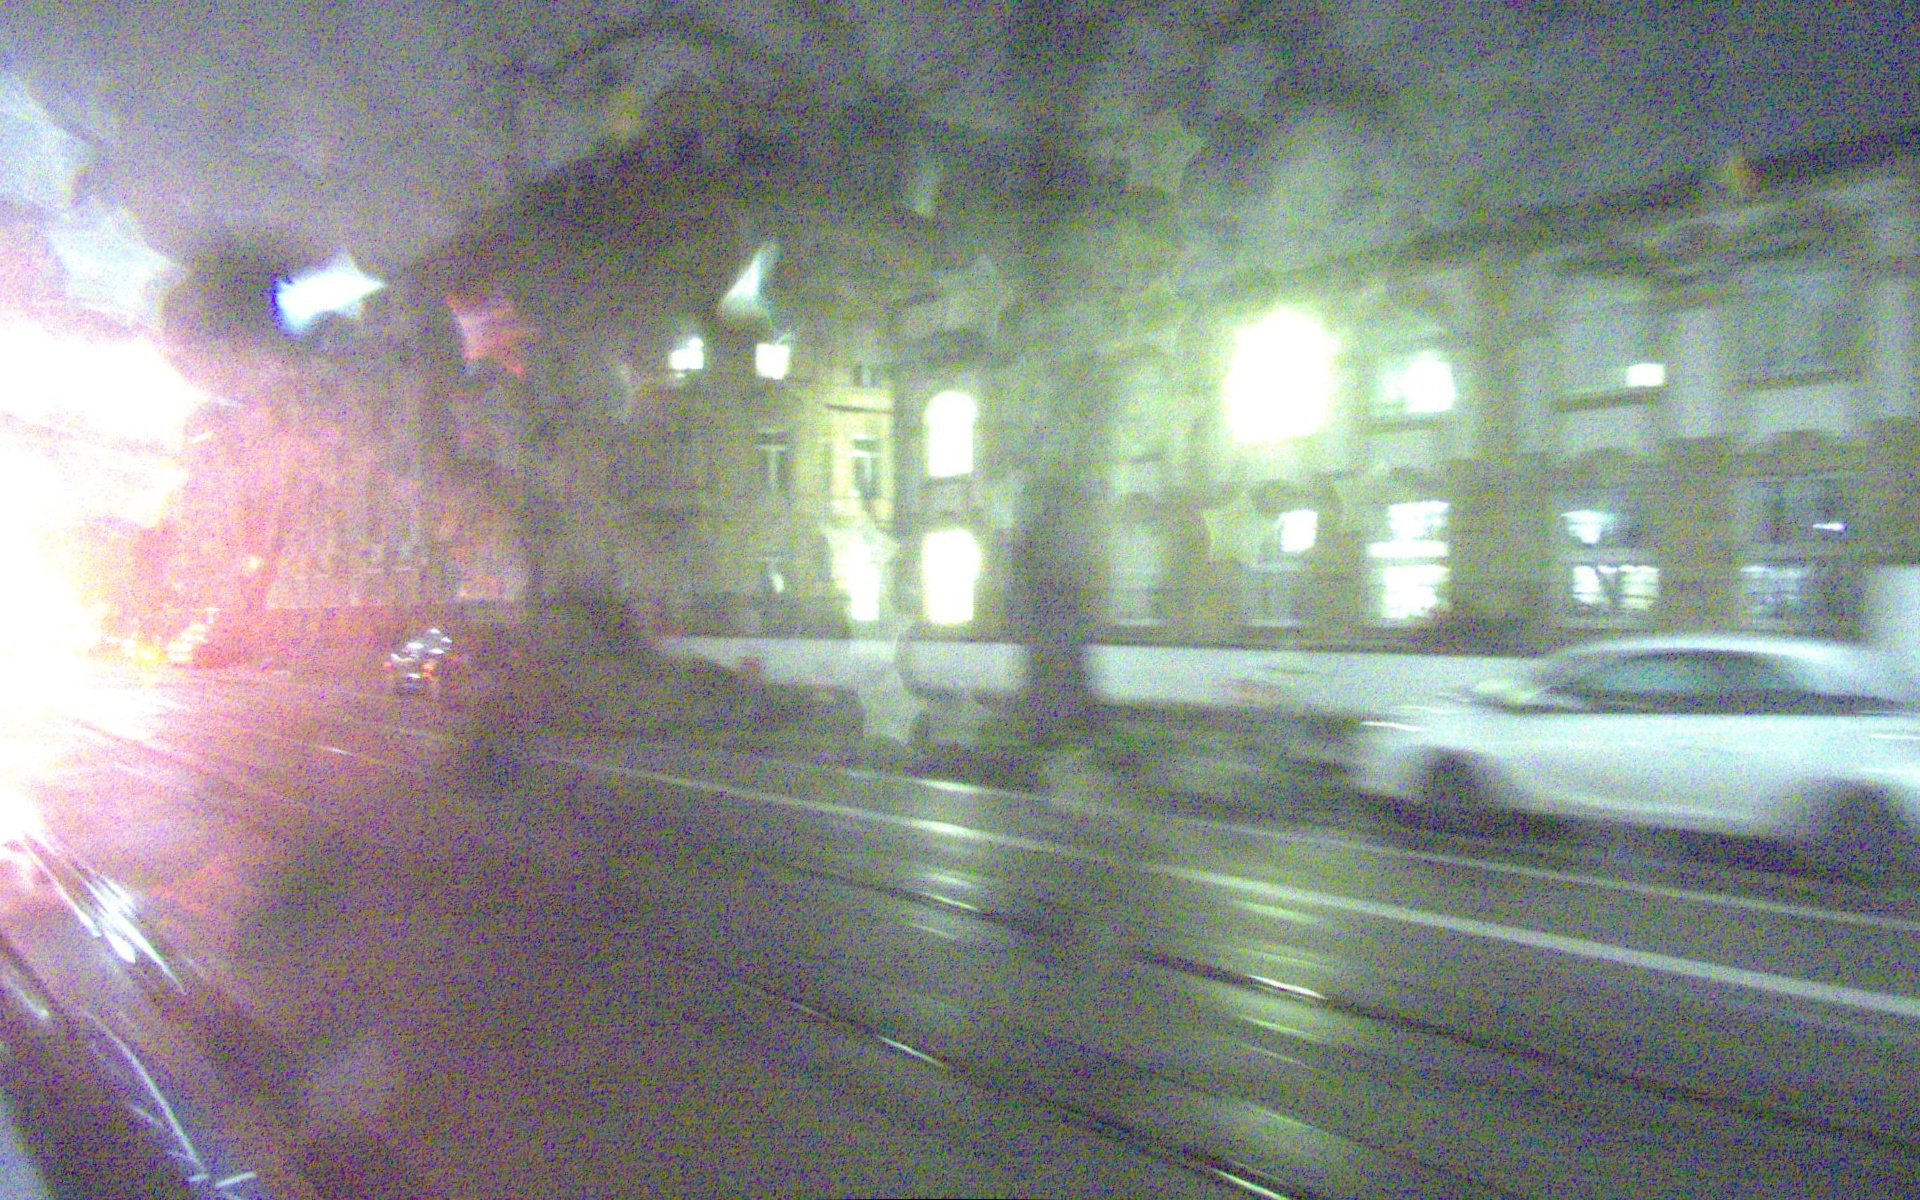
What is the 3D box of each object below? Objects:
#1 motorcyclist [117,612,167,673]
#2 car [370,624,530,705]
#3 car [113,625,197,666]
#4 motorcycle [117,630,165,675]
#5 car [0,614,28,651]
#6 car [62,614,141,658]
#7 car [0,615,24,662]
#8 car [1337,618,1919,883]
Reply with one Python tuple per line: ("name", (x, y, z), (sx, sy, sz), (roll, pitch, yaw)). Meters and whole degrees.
("motorcyclist", (-24.845, 1.295, 30.732), (1.136, 1.753, 0.908), (0, -5, 44))
("car", (-10.780, 1.273, 21.275), (4.000, 1.397, 1.650), (0, 2, 42))
("car", (-31.513, 1.733, 39.591), (4.137, 1.417, 1.748), (-1, 1, 40))
("motorcycle", (-24.841, 1.582, 30.691), (2.001, 1.239, 0.808), (0, -5, 44))
("car", (-51.526, 1.765, 54.477), (1.903, 1.894, 4.641), (3, -4, -43))
("car", (-40.185, 1.696, 47.336), (5.305, 1.839, 1.973), (-2, 1, 41))
("car", (-39.655, 1.556, 41.140), (4.384, 1.830, 1.918), (-2, -3, 42))
("car", (4.881, 0.881, 7.224), (3.805, 1.439, 1.593), (0, 1, 40))
